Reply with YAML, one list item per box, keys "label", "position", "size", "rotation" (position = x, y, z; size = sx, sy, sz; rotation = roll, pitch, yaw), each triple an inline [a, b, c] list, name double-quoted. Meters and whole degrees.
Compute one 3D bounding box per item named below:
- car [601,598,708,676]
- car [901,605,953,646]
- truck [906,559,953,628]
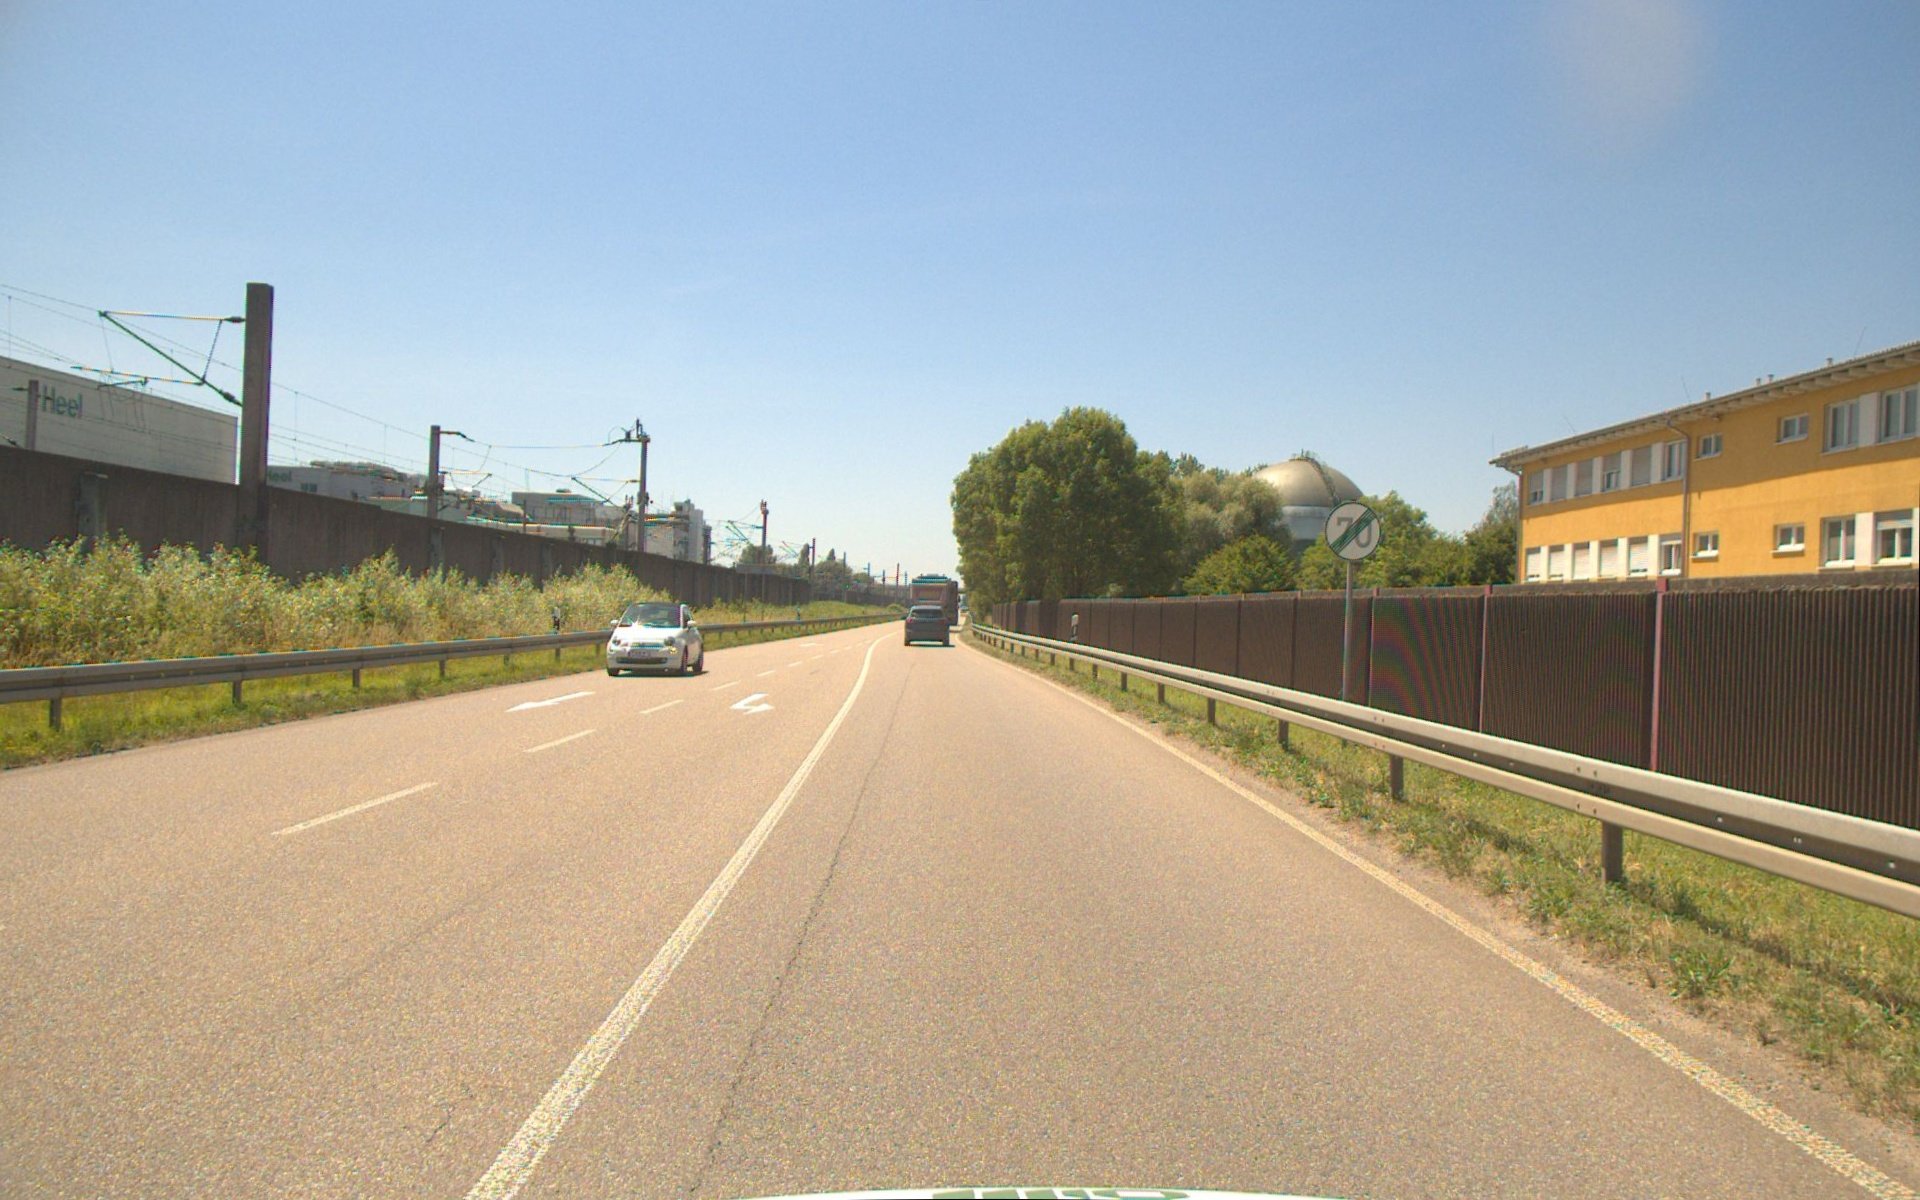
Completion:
- label: "car"
  position: [-6.426, 0.752, 35.126]
  size: [1.638, 1.528, 3.721]
  rotation: [1, 0, -2]
- label: "car"
  position: [-1.295, 1.037, 65.827]
  size: [1.953, 1.529, 3.999]
  rotation: [2, -2, -1]
- label: "truck"
  position: [-1.980, -0.310, 110.280]
  size: [2.935, 4.254, 11.805]
  rotation: [1, -1, -1]
